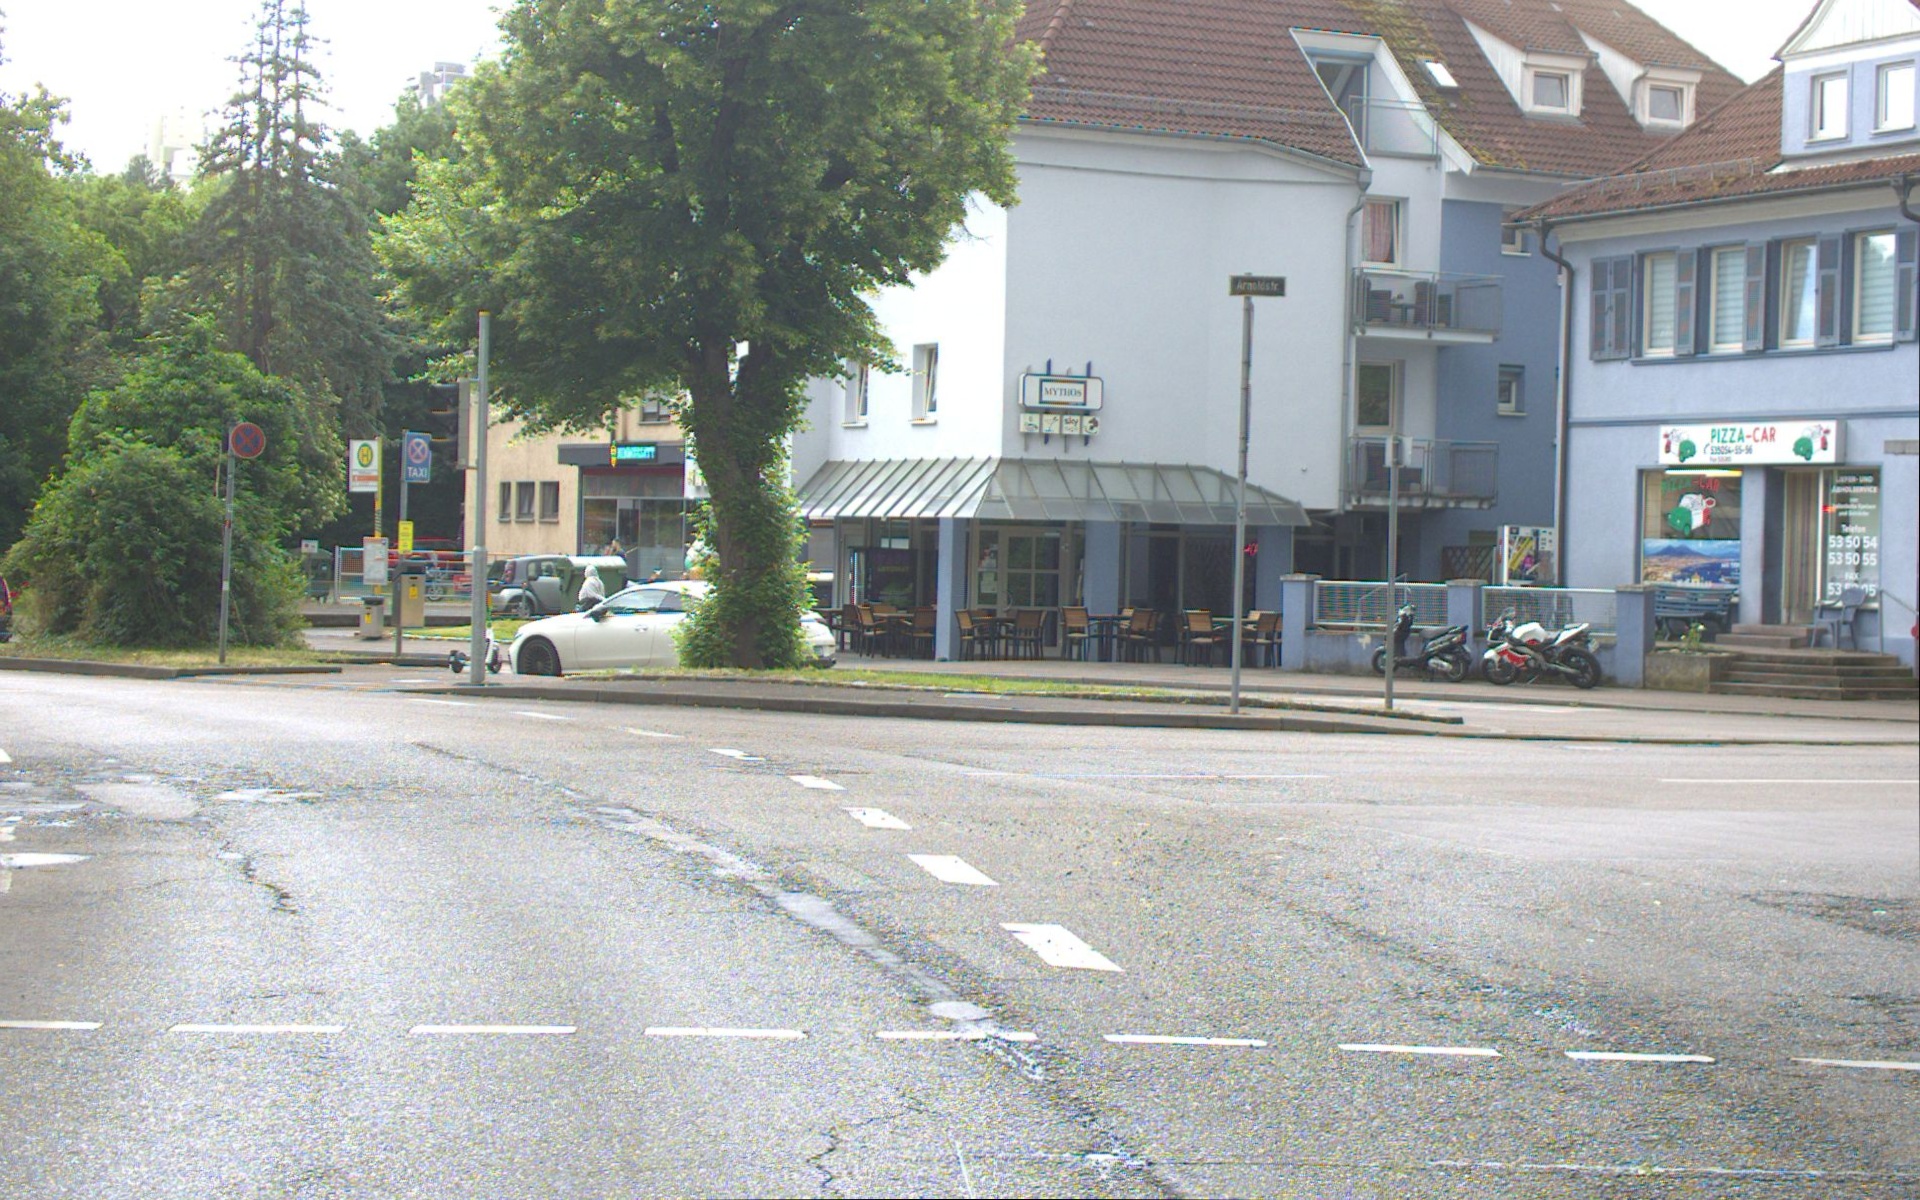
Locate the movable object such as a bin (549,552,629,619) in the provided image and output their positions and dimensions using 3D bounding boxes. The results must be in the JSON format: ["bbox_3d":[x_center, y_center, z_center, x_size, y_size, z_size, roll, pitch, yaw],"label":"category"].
[{"bbox_3d":[-7.980,-0.317,73.970,1.440,1.404,0.967,1,1,-27],"label":"movable object such as a bin"}]

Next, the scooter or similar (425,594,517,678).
[{"bbox_3d":[-6.058,0.435,42.645,0.417,1.008,1.565,1,1,20],"label":"scooter or similar"}]

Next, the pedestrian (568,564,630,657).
[{"bbox_3d":[-6.088,0.180,58.027,0.768,1.539,0.677,1,1,39],"label":"pedestrian"}]

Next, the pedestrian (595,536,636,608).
[{"bbox_3d":[-7.522,-0.608,75.050,0.676,1.539,0.707,1,1,12],"label":"pedestrian"}]

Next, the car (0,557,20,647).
[{"bbox_3d":[-16.512,-0.008,53.718,3.590,1.389,1.469,2,1,32],"label":"car"}]

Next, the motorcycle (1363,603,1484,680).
[{"bbox_3d":[6.753,0.599,50.154,1.636,1.060,0.693,2,1,44],"label":"motorcycle"}]

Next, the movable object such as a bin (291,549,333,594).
[{"bbox_3d":[-16.243,-0.723,86.163,0.950,1.111,0.383,1,1,-21],"label":"movable object such as a bin"}]

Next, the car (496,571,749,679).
[{"bbox_3d":[-4.530,0.319,46.038,3.171,1.350,1.436,2,1,35],"label":"car"}]

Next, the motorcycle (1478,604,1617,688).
[{"bbox_3d":[8.258,0.636,48.375,1.798,1.118,0.693,2,1,38],"label":"motorcycle"}]

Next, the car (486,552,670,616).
[{"bbox_3d":[-8.422,-0.359,75.867,3.733,1.340,1.434,1,1,-26],"label":"car"}]
